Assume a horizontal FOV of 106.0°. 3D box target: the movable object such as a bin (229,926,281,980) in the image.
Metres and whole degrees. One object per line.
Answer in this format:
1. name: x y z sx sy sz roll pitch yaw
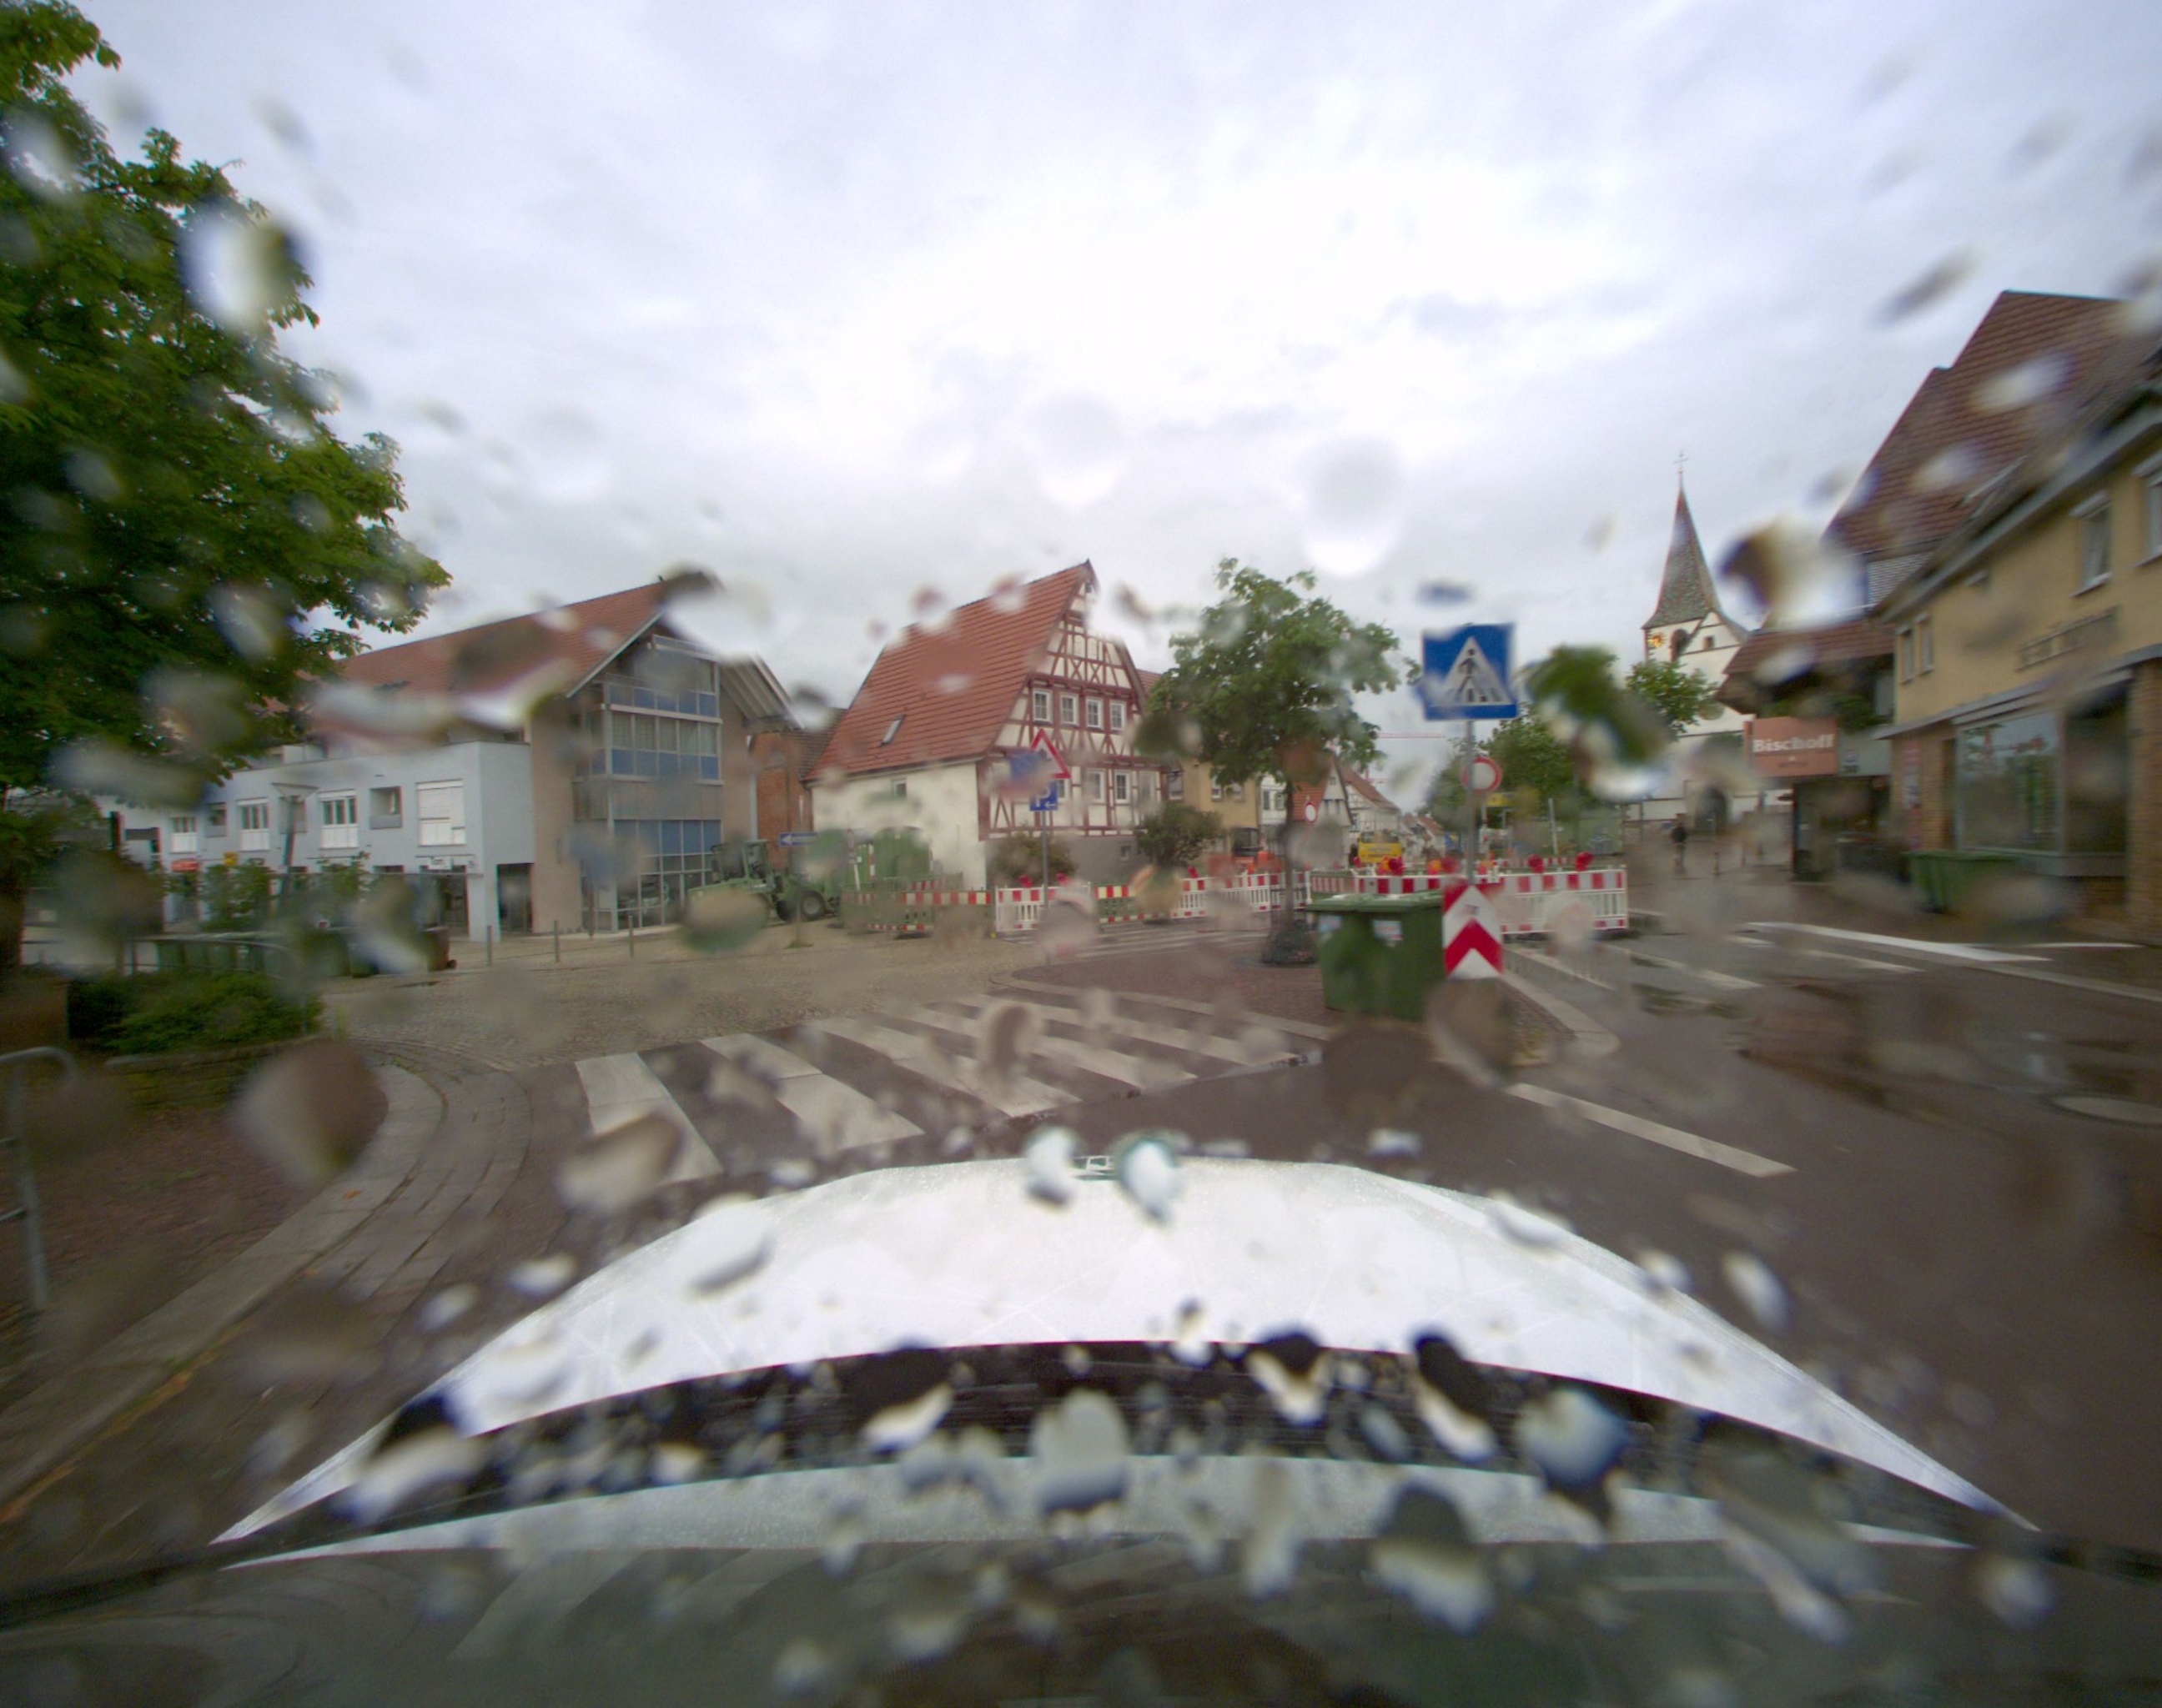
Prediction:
1. movable object such as a bin: -18.716 2.238 18.463 0.546 1.126 0.563 -4 0 9

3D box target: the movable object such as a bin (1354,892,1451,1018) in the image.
1. movable object such as a bin: 2.802 0.854 7.122 0.536 1.033 0.539 0 -2 -30

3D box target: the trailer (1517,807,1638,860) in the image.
1. trailer: 28.521 -1.140 47.016 5.731 2.947 2.011 0 0 22

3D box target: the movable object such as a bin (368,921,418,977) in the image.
1. movable object such as a bin: -14.981 2.058 17.741 0.546 1.126 0.563 -4 0 9

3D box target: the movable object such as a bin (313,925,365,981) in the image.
1. movable object such as a bin: -16.233 2.149 17.826 0.537 1.126 0.563 -4 0 9

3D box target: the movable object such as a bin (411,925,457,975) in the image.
1. movable object such as a bin: -14.110 2.086 17.766 0.495 0.991 0.561 -4 0 0

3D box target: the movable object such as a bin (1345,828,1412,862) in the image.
1. movable object such as a bin: 18.402 -0.535 50.269 3.370 2.013 3.500 0 0 28

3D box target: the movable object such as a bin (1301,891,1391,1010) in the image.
1. movable object such as a bin: 2.493 0.882 7.681 0.574 1.037 0.537 0 -2 -30

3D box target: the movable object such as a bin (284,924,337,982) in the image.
1. movable object such as a bin: -16.915 2.168 17.893 0.546 1.159 0.563 -4 0 9

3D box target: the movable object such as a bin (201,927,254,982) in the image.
1. movable object such as a bin: -19.323 2.270 18.453 0.546 1.126 0.563 -4 0 9

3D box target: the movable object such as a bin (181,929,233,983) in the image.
1. movable object such as a bin: -19.900 2.318 18.544 0.535 1.126 0.540 -4 0 9

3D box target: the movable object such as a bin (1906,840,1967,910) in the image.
1. movable object such as a bin: 14.645 0.356 13.954 0.511 1.128 0.583 -5 -1 30

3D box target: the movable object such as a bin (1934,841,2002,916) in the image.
1. movable object such as a bin: 14.004 0.383 12.876 0.511 1.129 0.583 -5 0 30

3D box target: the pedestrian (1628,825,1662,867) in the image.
1. pedestrian: 23.434 -0.328 33.879 0.981 1.759 0.856 0 0 21

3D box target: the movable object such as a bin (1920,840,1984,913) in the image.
1. movable object such as a bin: 14.318 0.373 13.404 0.511 1.133 0.583 -5 0 30

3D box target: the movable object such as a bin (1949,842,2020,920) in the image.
1. movable object such as a bin: 13.689 0.405 12.351 0.512 1.132 0.583 -4 0 30

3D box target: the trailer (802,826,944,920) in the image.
1. trailer: -6.945 0.557 26.983 4.574 2.836 2.507 0 0 43

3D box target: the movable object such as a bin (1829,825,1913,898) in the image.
1. movable object such as a bin: 17.463 0.154 18.050 1.055 1.512 1.250 -4 -1 34

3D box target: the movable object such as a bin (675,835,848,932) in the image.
1. movable object such as a bin: -9.453 0.815 24.389 1.887 2.554 4.319 -4 -1 39

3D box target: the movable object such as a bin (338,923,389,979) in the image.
1. movable object such as a bin: -15.573 2.096 17.684 0.546 1.126 0.563 -4 0 9

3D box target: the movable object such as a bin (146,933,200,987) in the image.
1. movable object such as a bin: -20.567 2.392 18.462 0.536 1.126 0.538 -4 0 -2

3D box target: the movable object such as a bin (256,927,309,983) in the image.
1. movable object such as a bin: -17.613 2.226 17.977 0.546 1.126 0.563 -4 0 9

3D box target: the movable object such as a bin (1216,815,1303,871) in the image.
1. movable object such as a bin: 7.222 -0.416 32.703 1.886 2.014 4.026 -3 -2 36
